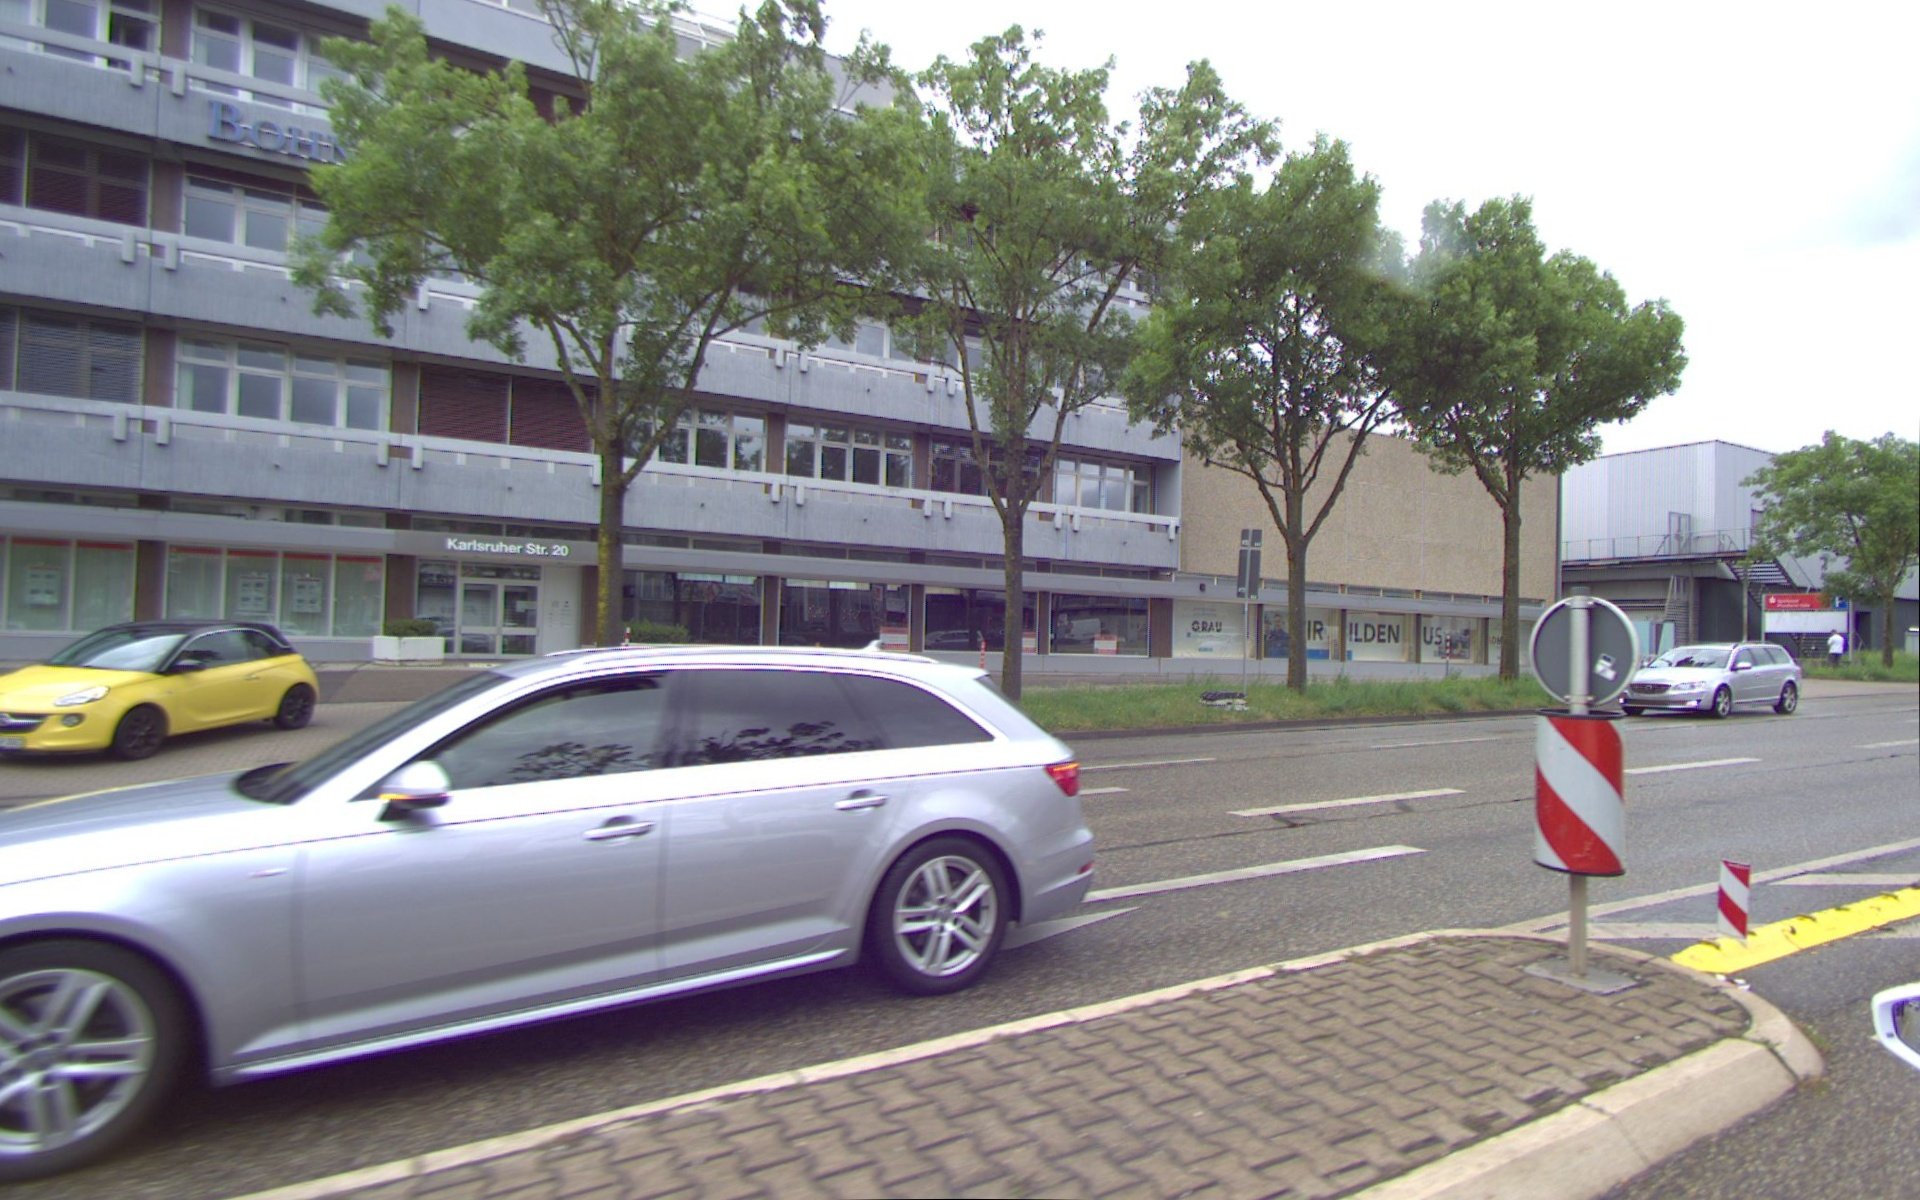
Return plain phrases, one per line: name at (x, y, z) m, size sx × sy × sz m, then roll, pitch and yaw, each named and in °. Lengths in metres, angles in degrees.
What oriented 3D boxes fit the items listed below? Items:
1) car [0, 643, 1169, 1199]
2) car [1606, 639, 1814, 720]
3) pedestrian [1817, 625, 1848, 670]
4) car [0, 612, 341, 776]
car at (-1.449, 0.899, 4.195) m, size 4.563 × 1.424 × 1.775 m, roll 1°, pitch -3°, yaw -31°
car at (16.026, 1.627, 21.406) m, size 4.723 × 1.573 × 1.734 m, roll 1°, pitch -3°, yaw -29°
pedestrian at (31.844, 1.738, 36.666) m, size 0.757 × 1.605 × 0.582 m, roll 1°, pitch 0°, yaw -27°
car at (-9.731, 1.001, 12.355) m, size 1.589 × 1.529 × 3.713 m, roll 3°, pitch 1°, yaw 7°
